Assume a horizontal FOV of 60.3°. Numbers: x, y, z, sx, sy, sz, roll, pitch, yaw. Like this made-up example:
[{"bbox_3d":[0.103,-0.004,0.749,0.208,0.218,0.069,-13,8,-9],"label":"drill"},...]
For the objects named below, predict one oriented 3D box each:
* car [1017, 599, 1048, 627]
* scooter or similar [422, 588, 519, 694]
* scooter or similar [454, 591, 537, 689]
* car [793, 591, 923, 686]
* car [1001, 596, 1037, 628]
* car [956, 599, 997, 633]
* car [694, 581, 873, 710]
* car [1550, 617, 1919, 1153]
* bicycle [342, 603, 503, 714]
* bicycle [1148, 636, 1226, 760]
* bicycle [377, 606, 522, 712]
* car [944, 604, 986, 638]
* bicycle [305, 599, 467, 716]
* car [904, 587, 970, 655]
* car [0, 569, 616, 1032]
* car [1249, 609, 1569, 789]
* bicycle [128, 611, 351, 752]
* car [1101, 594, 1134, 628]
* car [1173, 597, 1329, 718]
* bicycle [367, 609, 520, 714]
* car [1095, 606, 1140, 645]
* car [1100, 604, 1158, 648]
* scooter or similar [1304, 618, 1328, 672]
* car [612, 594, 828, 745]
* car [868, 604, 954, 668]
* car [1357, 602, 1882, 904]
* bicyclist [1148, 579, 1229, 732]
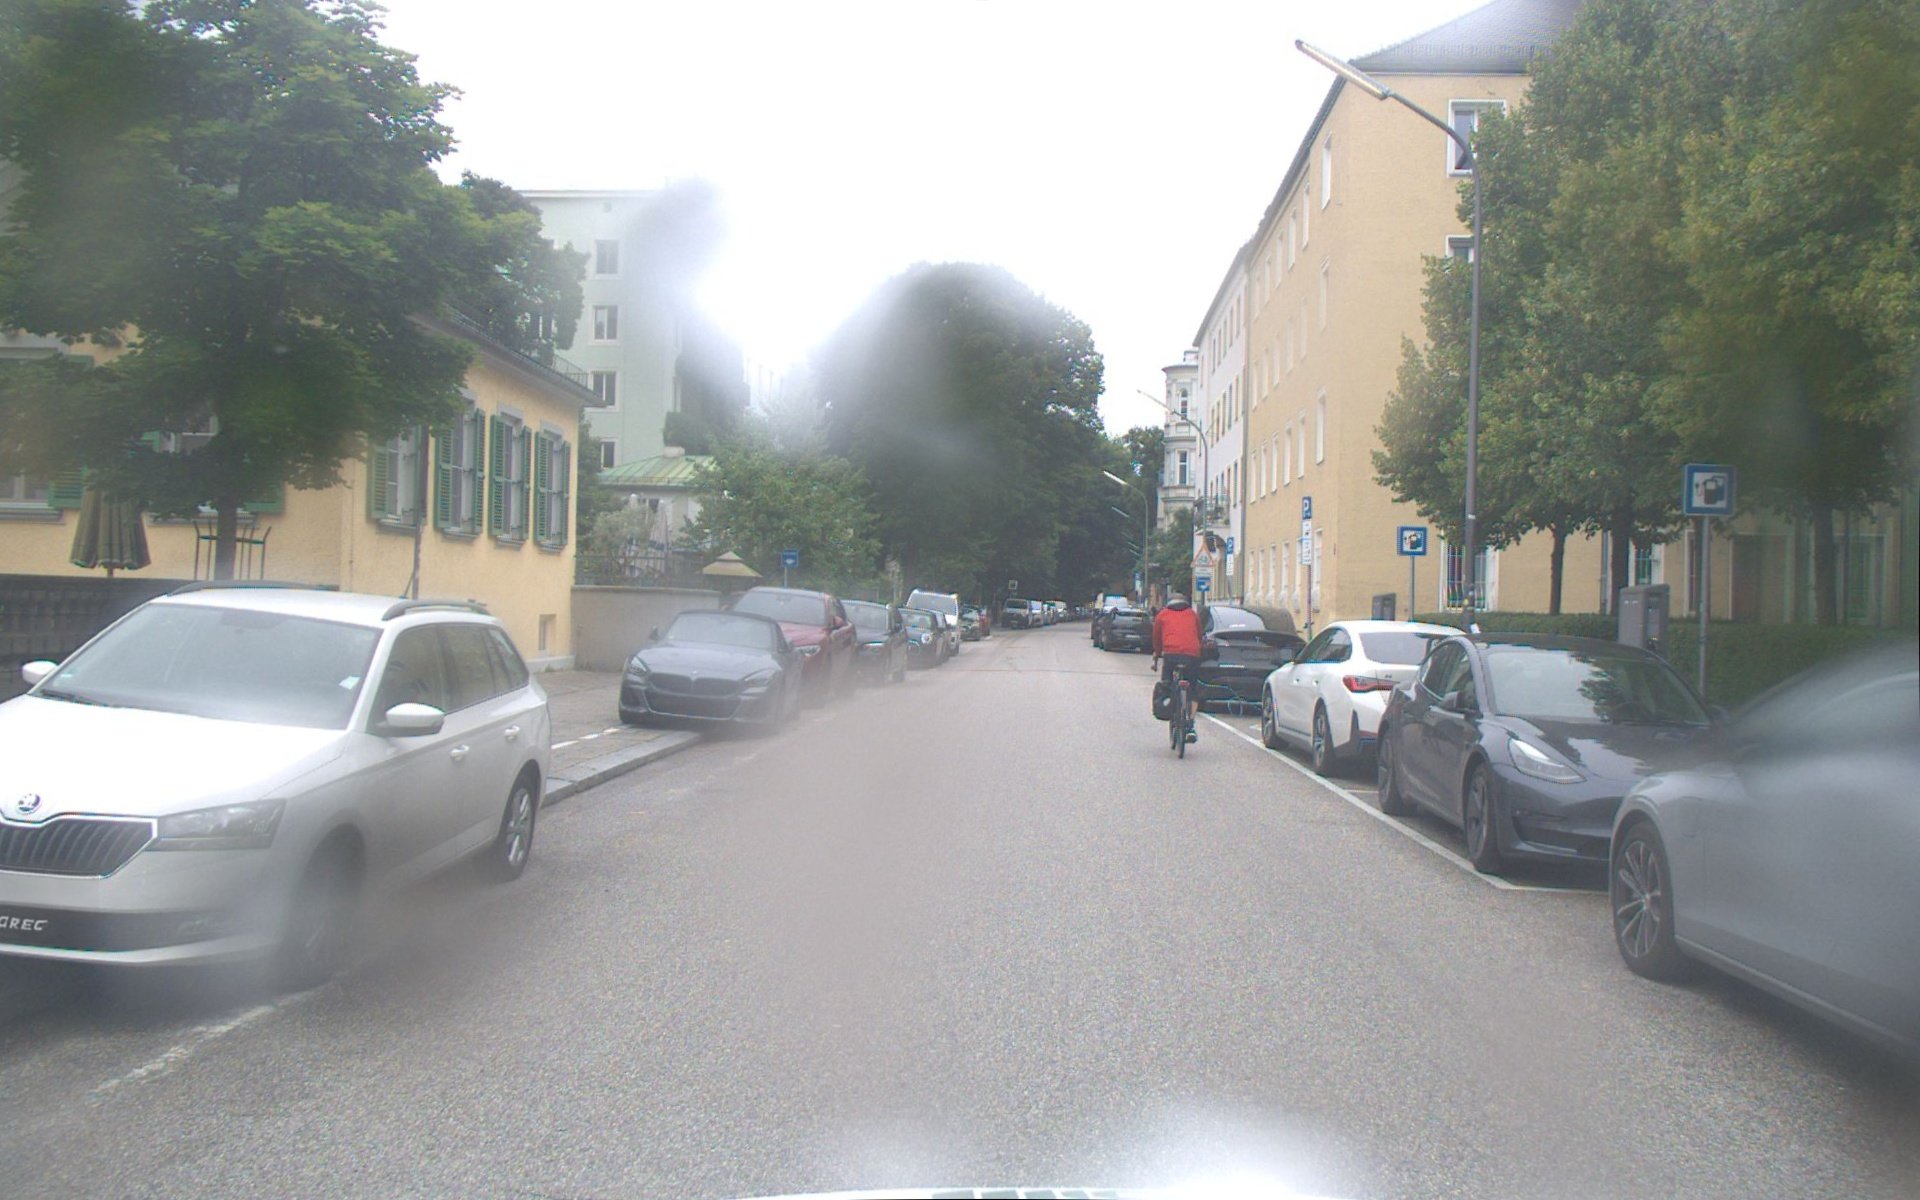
[{"bbox_3d":[5.498,0.945,124.535,2.138,1.990,5.169,2,0,3],"label":"car"},{"bbox_3d":[-6.516,0.538,22.065,0.368,1.366,1.350,1,0,29],"label":"scooter or similar"},{"bbox_3d":[-6.545,0.552,23.351,0.356,1.337,1.252,1,0,27],"label":"scooter or similar"},{"bbox_3d":[-1.907,0.713,32.474,1.807,1.635,4.745,2,0,5],"label":"car"},{"bbox_3d":[4.053,0.815,112.893,2.201,1.990,5.456,2,0,3],"label":"car"},{"bbox_3d":[0.869,0.834,84.875,1.848,1.618,4.529,2,0,3],"label":"car"},{"bbox_3d":[-2.597,0.650,25.584,1.862,1.721,4.810,2,0,4],"label":"car"},{"bbox_3d":[3.861,0.906,5.698,1.907,1.579,5.005,2,0,1],"label":"car"},{"bbox_3d":[-6.009,0.652,18.517,1.666,1.192,0.352,1,0,1],"label":"bicycle"},{"bbox_3d":[2.337,0.979,17.199,0.658,1.161,2.012,2,-1,5],"label":"bicycle"},{"bbox_3d":[-5.989,0.682,19.441,1.459,1.169,0.642,2,0,5],"label":"bicycle"},{"bbox_3d":[0.276,0.936,75.151,1.770,1.426,4.924,2,0,1],"label":"car"},{"bbox_3d":[-6.183,0.608,17.819,1.594,1.193,0.467,2,0,10],"label":"bicycle"},{"bbox_3d":[-0.717,0.671,54.389,1.926,2.025,5.152,2,0,1],"label":"car"},{"bbox_3d":[-3.063,0.674,7.850,1.689,1.518,4.463,2,0,2],"label":"car"},{"bbox_3d":[4.382,0.881,17.040,1.953,1.485,4.957,2,0,1],"label":"car"},{"bbox_3d":[-6.034,0.654,13.890,1.616,1.107,0.629,1,0,-38],"label":"bicycle"},{"bbox_3d":[10.680,0.780,112.337,2.157,2.247,4.857,0,-1,4],"label":"car"},{"bbox_3d":[4.557,0.849,26.584,1.952,1.659,5.102,2,0,5],"label":"car"},{"bbox_3d":[-5.889,0.694,18.889,1.595,1.157,0.387,1,0,1],"label":"bicycle"},{"bbox_3d":[6.518,1.016,68.605,1.800,1.558,4.418,0,0,5],"label":"car"},{"bbox_3d":[6.411,0.955,63.162,1.822,1.604,4.900,0,0,1],"label":"car"},{"bbox_3d":[8.741,1.093,40.611,0.335,1.277,1.310,-1,-1,3],"label":"scooter or similar"},{"bbox_3d":[-2.779,0.758,20.190,1.857,1.545,4.655,2,0,0],"label":"car"},{"bbox_3d":[-1.232,0.908,43.330,1.820,1.572,4.190,-1,0,4],"label":"car"},{"bbox_3d":[4.228,0.855,11.582,1.921,1.579,4.851,2,0,3],"label":"car"},{"bbox_3d":[2.366,0.567,17.219,0.738,1.509,0.982,2,-1,5],"label":"bicyclist"}]
